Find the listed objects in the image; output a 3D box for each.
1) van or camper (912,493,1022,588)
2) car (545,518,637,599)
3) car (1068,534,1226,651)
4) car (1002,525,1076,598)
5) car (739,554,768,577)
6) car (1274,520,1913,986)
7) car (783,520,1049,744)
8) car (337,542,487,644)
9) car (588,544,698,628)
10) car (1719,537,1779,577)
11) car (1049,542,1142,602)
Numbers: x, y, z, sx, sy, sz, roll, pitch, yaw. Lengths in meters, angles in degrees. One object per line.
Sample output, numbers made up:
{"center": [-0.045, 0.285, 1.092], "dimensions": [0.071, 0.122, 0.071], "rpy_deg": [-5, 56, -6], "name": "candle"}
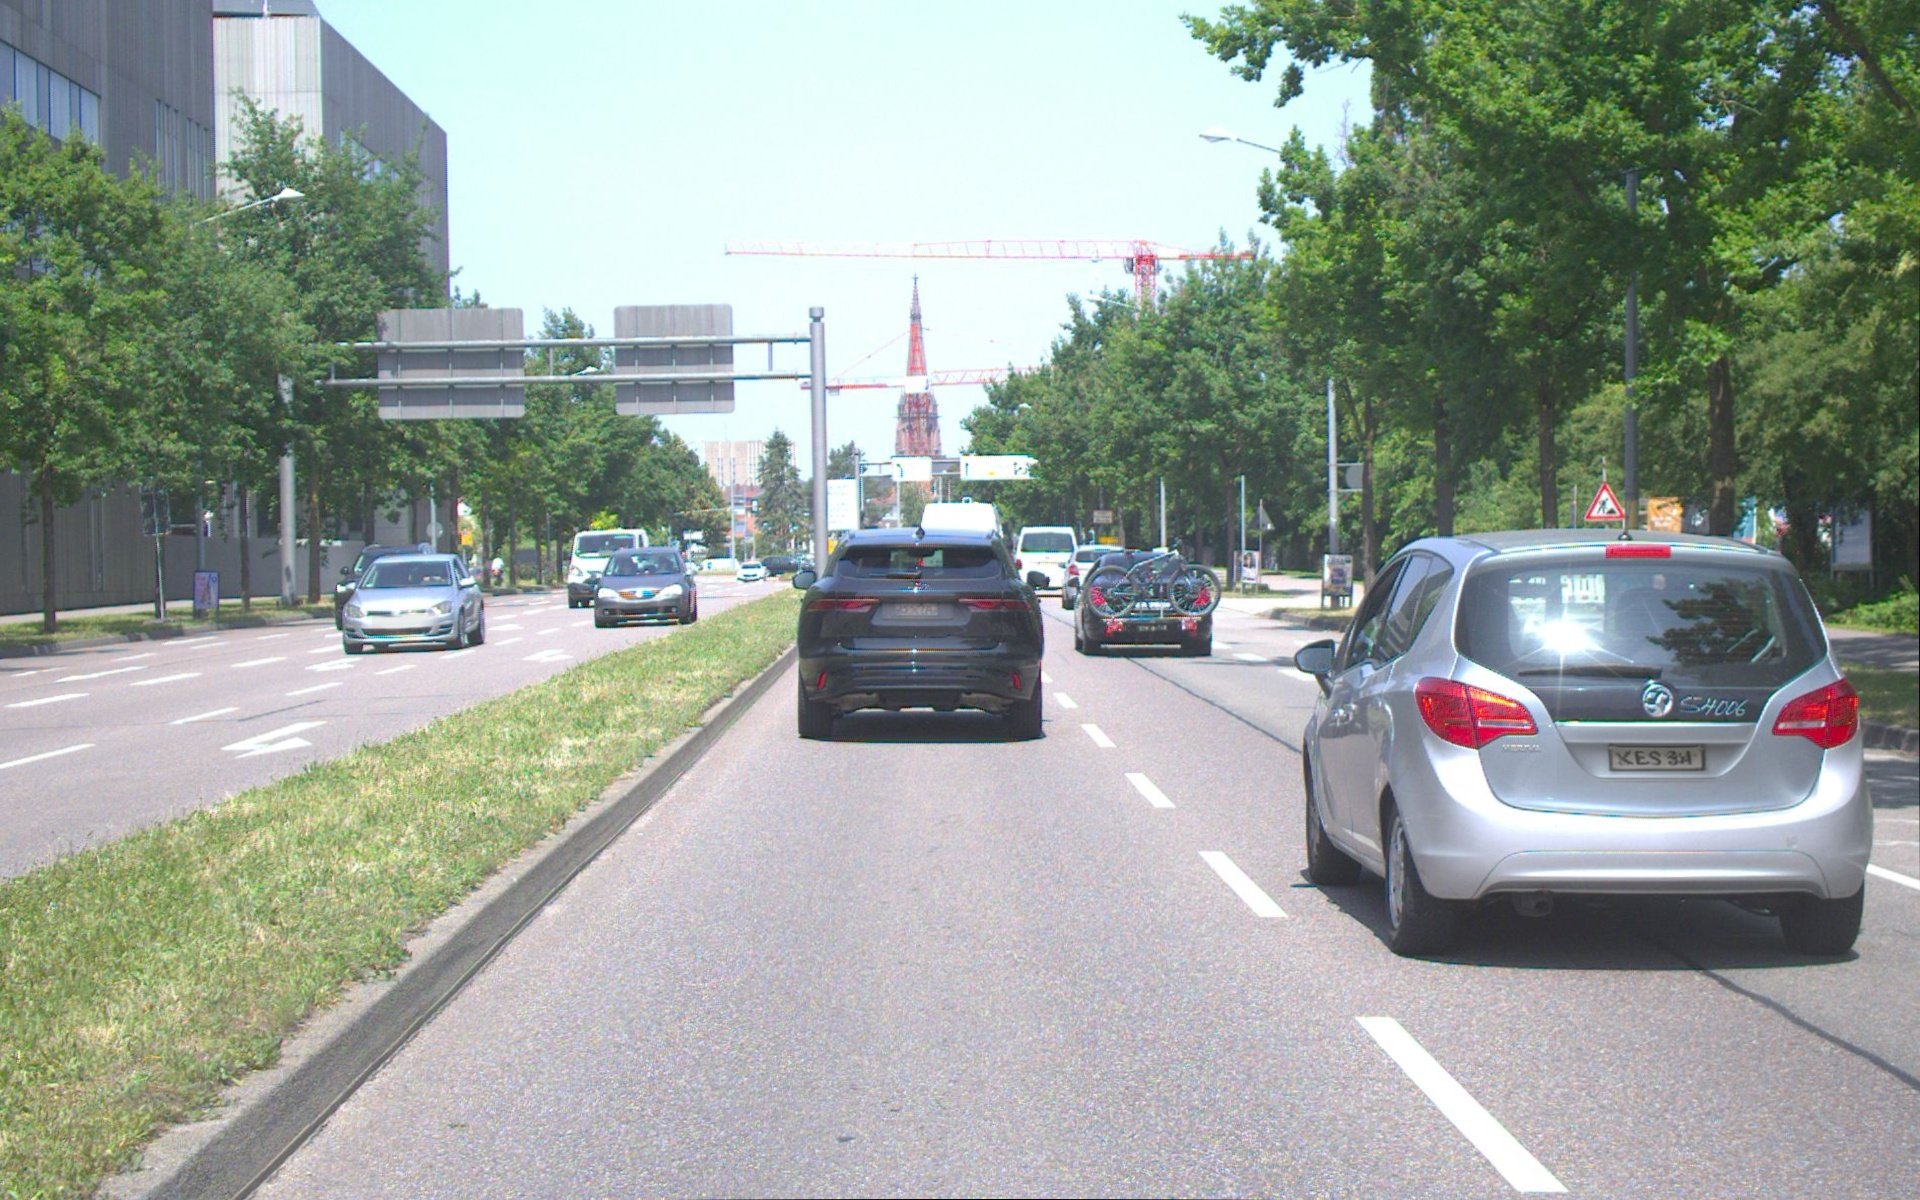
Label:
{"center": [0.211, -1.477, 86.631], "dimensions": [2.493, 2.283, 4.920], "rpy_deg": [-1, 0, 3], "name": "van or camper"}
{"center": [-9.612, -1.095, 89.912], "dimensions": [1.909, 1.986, 4.898], "rpy_deg": [-2, 1, -1], "name": "car"}
{"center": [2.539, -0.117, 47.593], "dimensions": [2.014, 1.512, 4.460], "rpy_deg": [-1, 0, 1], "name": "car"}
{"center": [2.225, -1.111, 97.990], "dimensions": [1.993, 2.007, 4.000], "rpy_deg": [-1, 1, 0], "name": "car"}
{"center": [-13.628, -2.311, 226.946], "dimensions": [1.810, 1.422, 4.359], "rpy_deg": [-2, 1, -2], "name": "car"}
{"center": [2.398, 0.499, 13.973], "dimensions": [1.792, 1.606, 3.891], "rpy_deg": [-1, 1, -1], "name": "car"}
{"center": [-0.306, 0.211, 28.024], "dimensions": [1.998, 1.684, 4.034], "rpy_deg": [0, 1, 1], "name": "car"}
{"center": [-8.421, -0.140, 53.116], "dimensions": [1.765, 1.455, 4.145], "rpy_deg": [-2, 1, -2], "name": "car"}
{"center": [-5.895, -0.286, 64.245], "dimensions": [1.810, 1.461, 4.058], "rpy_deg": [-2, 1, -3], "name": "car"}
{"center": [24.075, -1.311, 104.921], "dimensions": [1.380, 1.183, 3.302], "rpy_deg": [-1, 1, 6], "name": "car"}
{"center": [3.164, -0.649, 81.128], "dimensions": [1.654, 1.351, 4.461], "rpy_deg": [-1, 0, -4], "name": "car"}
